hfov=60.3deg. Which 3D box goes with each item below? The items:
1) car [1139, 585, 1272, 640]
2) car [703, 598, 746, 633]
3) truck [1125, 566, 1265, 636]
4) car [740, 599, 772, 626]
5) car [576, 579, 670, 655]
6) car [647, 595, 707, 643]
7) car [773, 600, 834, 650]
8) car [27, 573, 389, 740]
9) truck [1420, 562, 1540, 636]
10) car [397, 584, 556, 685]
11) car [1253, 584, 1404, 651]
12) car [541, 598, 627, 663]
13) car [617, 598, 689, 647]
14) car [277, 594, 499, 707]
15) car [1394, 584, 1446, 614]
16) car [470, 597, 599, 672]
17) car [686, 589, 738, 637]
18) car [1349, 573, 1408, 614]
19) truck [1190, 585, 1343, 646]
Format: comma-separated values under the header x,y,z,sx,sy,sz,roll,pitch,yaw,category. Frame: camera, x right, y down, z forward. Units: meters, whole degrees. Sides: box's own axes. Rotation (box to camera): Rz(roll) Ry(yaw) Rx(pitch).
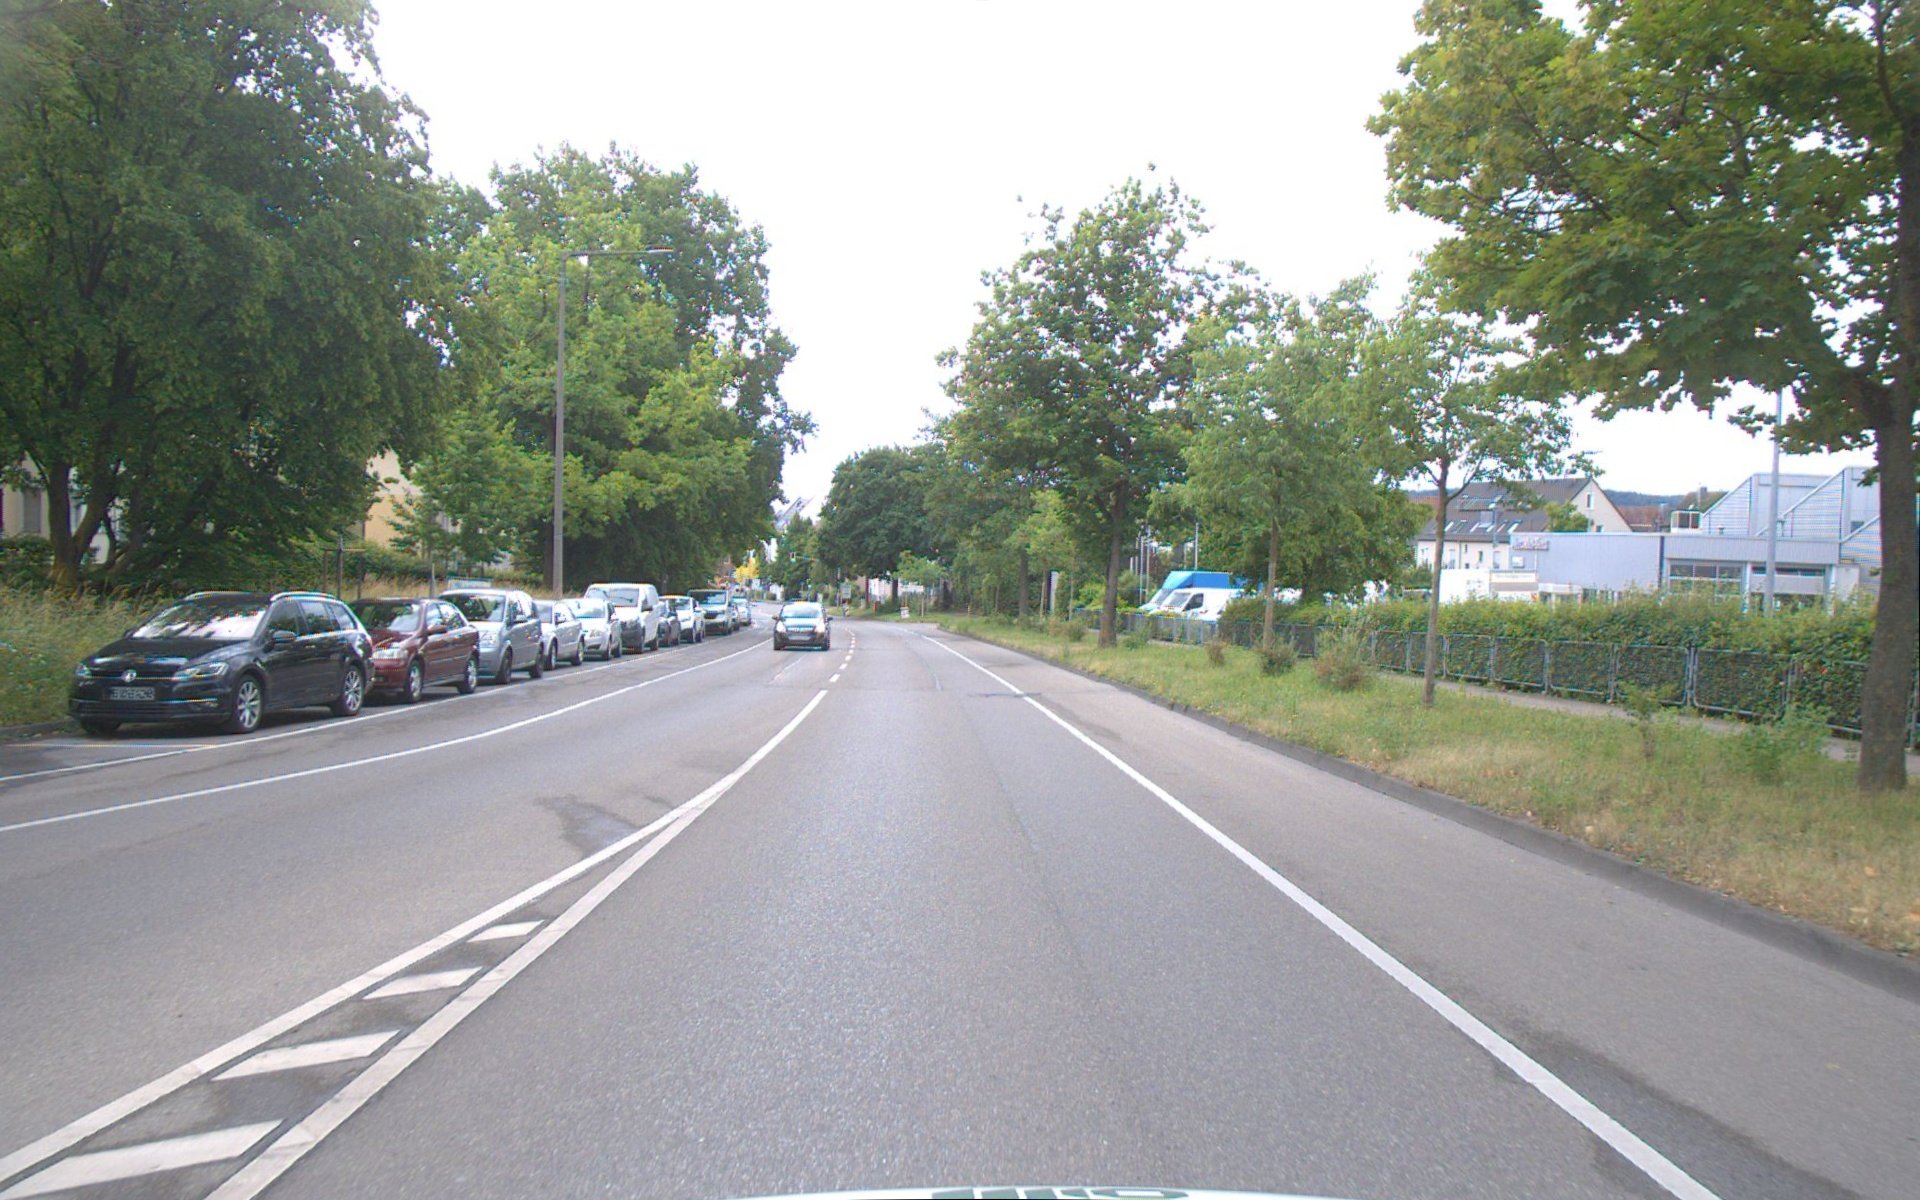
x,y,z,sx,sy,sz,roll,pitch,yaw,category
11.604,0.590,77.951,5.939,2.408,2.342,2,-1,-27,car
-11.593,0.777,81.643,1.731,1.662,4.154,1,0,-4,car
12.237,0.086,86.005,7.080,3.538,2.595,1,0,-28,truck
-12.279,0.756,99.713,1.732,1.600,4.754,0,-1,-5,car
-9.463,0.440,46.779,1.732,1.964,5.153,2,0,-2,car
-9.872,0.652,57.915,1.640,1.592,4.278,0,0,-4,car
-4.856,0.753,51.596,1.604,1.493,3.999,0,0,-1,car
-8.196,0.569,18.589,1.836,1.598,4.651,1,0,1,car
26.637,0.001,85.308,2.796,3.519,9.536,2,0,-2,truck
-8.408,0.559,29.095,1.732,1.619,4.132,1,0,-3,car
13.191,0.642,59.132,5.185,2.226,2.052,2,-1,-28,car
-9.225,0.707,40.819,1.603,1.458,3.945,2,0,-6,car
-9.810,0.713,53.125,1.639,1.514,4.043,0,0,-2,car
-8.112,0.658,23.860,1.731,1.473,4.149,1,0,0,car
32.065,-0.096,115.221,2.025,1.990,4.481,1,2,38,car
-9.154,0.693,35.925,1.732,1.521,4.356,0,0,-1,car
-10.817,0.562,72.368,1.829,1.998,5.122,1,0,-4,car
29.489,-0.492,116.419,2.217,2.723,5.431,1,2,35,car
12.376,0.641,66.631,6.170,2.251,2.223,2,-1,-31,truck
